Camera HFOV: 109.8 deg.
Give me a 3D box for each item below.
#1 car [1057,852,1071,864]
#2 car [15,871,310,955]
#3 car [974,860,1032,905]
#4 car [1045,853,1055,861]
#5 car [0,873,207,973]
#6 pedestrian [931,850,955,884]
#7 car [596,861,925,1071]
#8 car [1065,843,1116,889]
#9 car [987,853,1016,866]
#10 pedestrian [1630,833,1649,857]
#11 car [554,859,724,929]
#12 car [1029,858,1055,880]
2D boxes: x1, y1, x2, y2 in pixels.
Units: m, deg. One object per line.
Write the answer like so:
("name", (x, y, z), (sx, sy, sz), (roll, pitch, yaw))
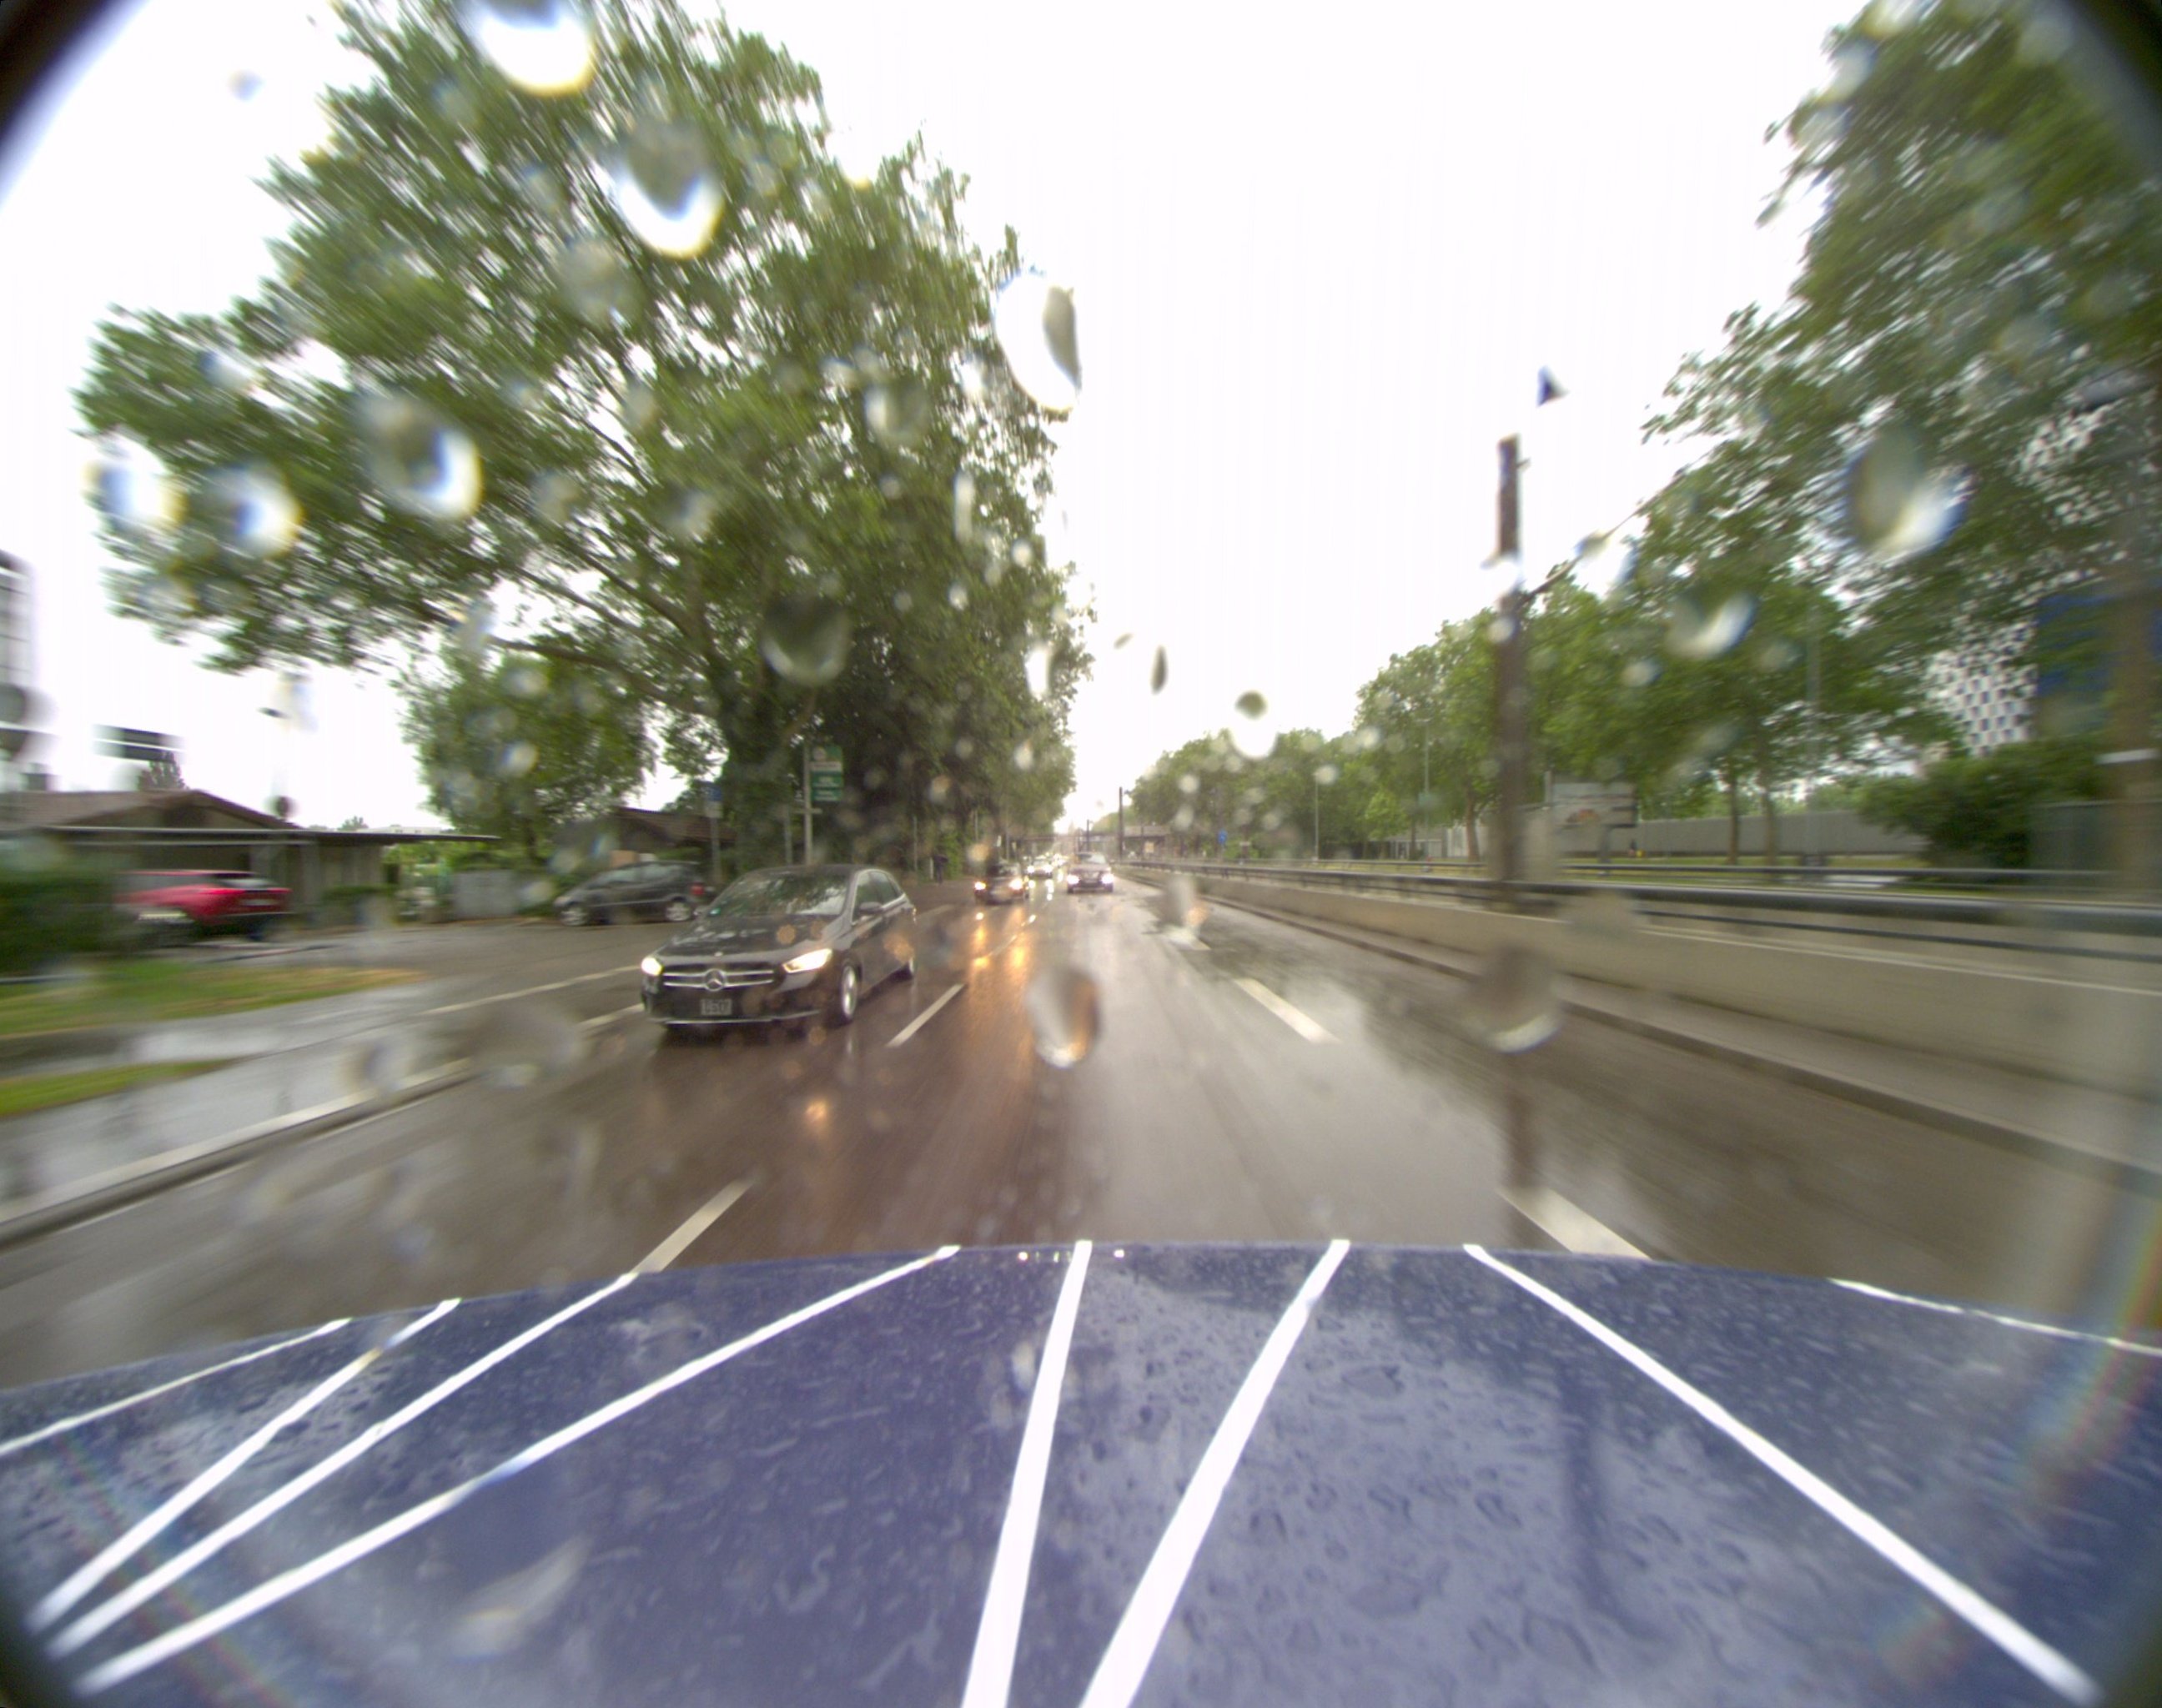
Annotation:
("car", (-2.422, 0.554, 106.735), (1.870, 1.689, 4.424), (-1, 0, -2))
("car", (-18.192, 1.128, 15.201), (3.637, 1.488, 1.800), (-2, -1, -2))
("car", (-2.719, 0.954, 27.309), (1.641, 1.377, 3.781), (-2, 1, 0))
("car", (-6.078, 0.611, 149.605), (1.870, 1.689, 4.157), (-1, 0, -2))
("car", (-16.993, 1.099, 12.451), (3.389, 1.488, 1.659), (-2, -1, 0))
("pedestrian", (-7.134, 0.660, 39.299), (0.969, 1.693, 1.140), (-3, 1, -1))
("car", (-2.979, 0.901, 8.231), (1.821, 1.521, 4.420), (-3, 0, -3))
("car", (0.403, 0.495, 32.652), (1.975, 1.794, 4.159), (-2, 0, 0))
("car", (-9.672, 0.684, 92.276), (1.611, 1.423, 3.546), (-3, 1, -43))
("pedestrian", (48.405, -0.800, 65.876), (1.004, 2.002, 0.790), (-3, 1, -1))
("car", (-11.231, 0.994, 19.518), (3.392, 1.599, 1.657), (-1, -1, -10))
("car", (-2.805, 1.072, 55.388), (1.821, 1.520, 4.158), (-1, 0, -2))
